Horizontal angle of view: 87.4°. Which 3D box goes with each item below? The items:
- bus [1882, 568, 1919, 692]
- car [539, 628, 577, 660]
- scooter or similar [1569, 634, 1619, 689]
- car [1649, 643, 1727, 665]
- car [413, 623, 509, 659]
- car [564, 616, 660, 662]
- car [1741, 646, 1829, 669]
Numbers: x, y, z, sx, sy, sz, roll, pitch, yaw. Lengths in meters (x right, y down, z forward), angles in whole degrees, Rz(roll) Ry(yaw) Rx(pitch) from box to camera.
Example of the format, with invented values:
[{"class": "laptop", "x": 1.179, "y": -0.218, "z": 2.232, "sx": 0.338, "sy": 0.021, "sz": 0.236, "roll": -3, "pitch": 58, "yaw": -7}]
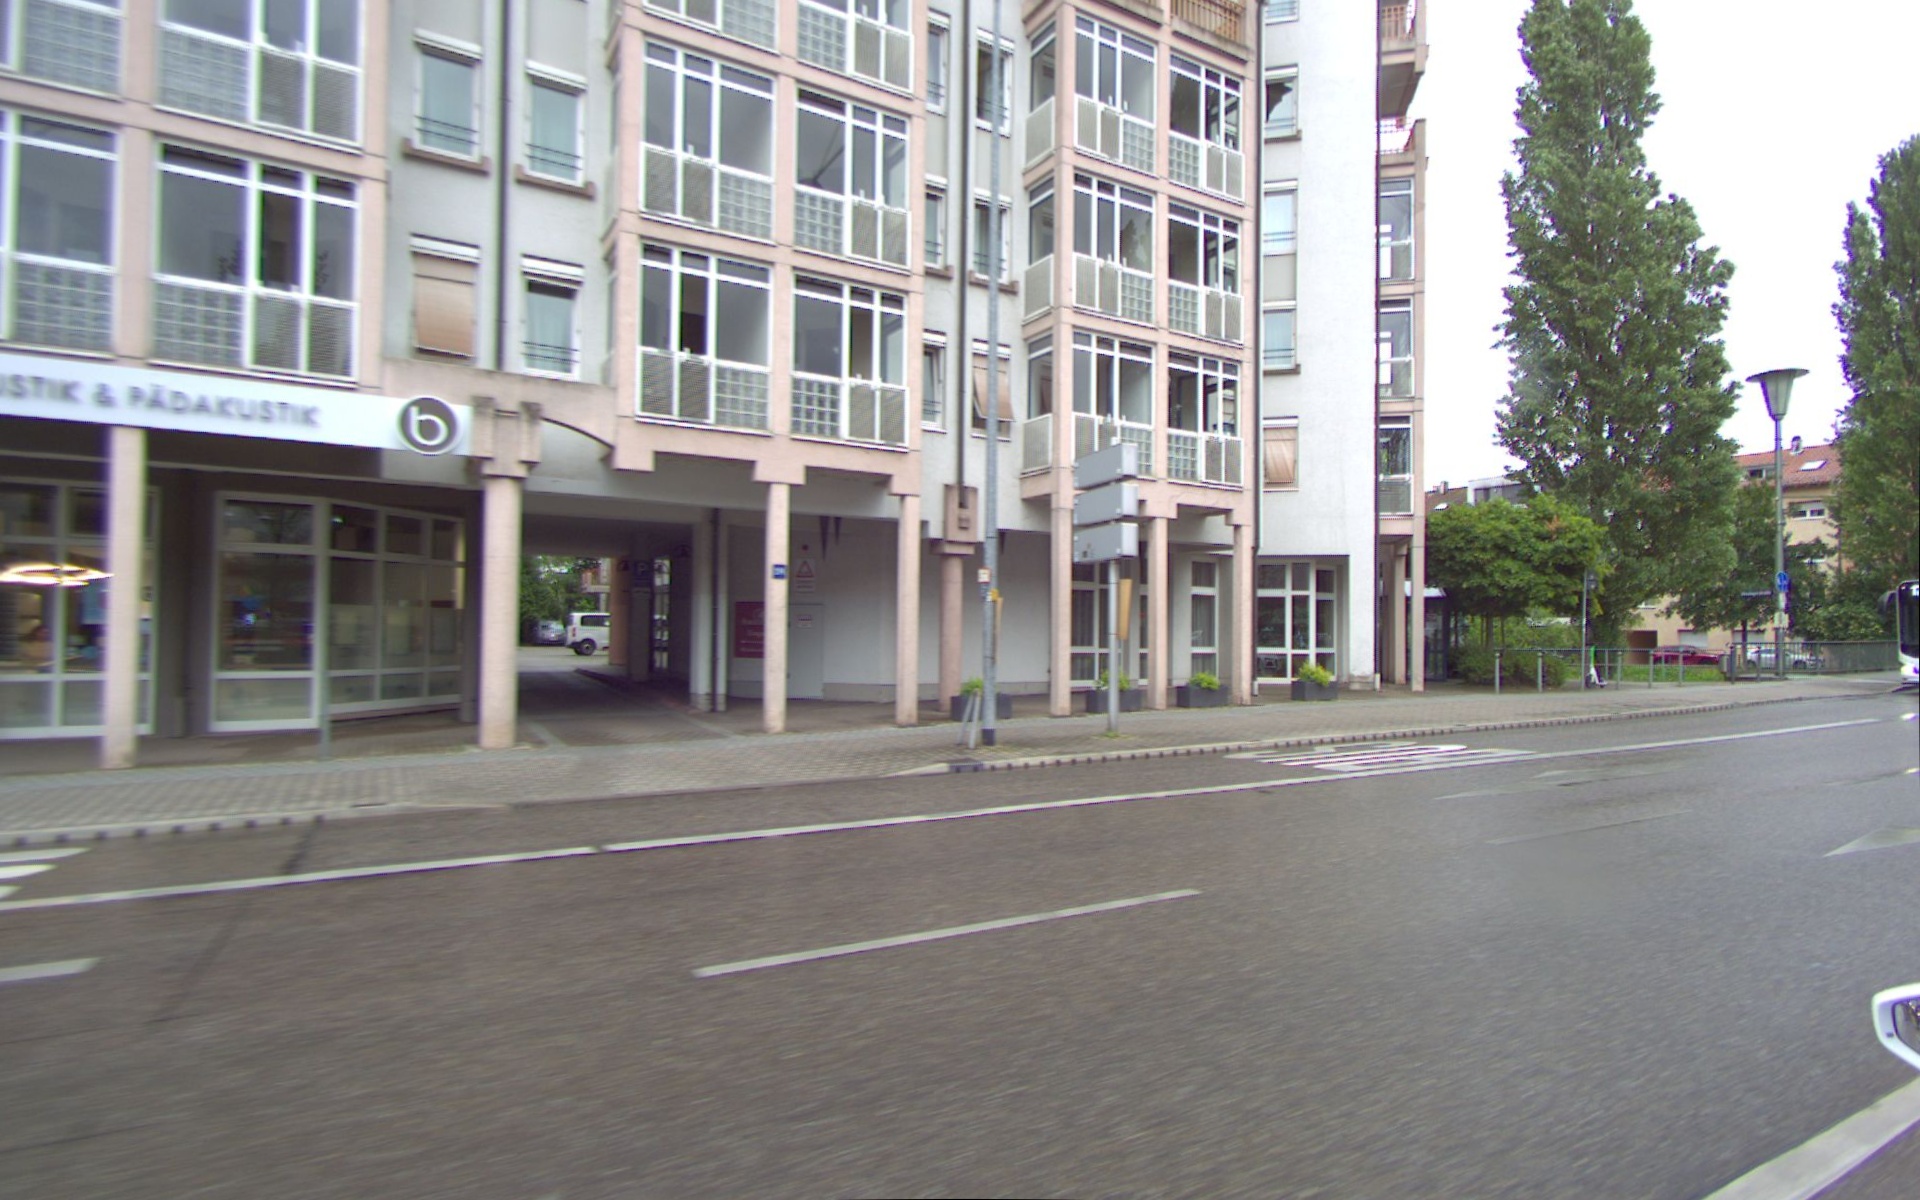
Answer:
[{"class": "bus", "x": 29.679, "y": 0.722, "z": 27.735, "sx": 12.090, "sy": 3.116, "sz": 2.731, "roll": 0, "pitch": -1, "yaw": -30}, {"class": "car", "x": -26.100, "y": 2.878, "z": 65.195, "sx": 1.846, "sy": 2.040, "sz": 3.971, "roll": 1, "pitch": -3, "yaw": -29}, {"class": "scooter or similar", "x": 16.329, "y": 1.571, "z": 25.852, "sx": 1.555, "sy": 1.331, "sz": 0.479, "roll": -1, "pitch": -1, "yaw": -34}, {"class": "car", "x": 50.049, "y": 3.691, "z": 69.136, "sx": 1.876, "sy": 1.406, "sz": 3.970, "roll": 2, "pitch": -2, "yaw": -29}, {"class": "car", "x": -25.867, "y": 2.102, "z": 52.213, "sx": 4.169, "sy": 1.806, "sz": 1.862, "roll": 0, "pitch": 0, "yaw": -17}, {"class": "car", "x": -15.996, "y": 1.799, "z": 46.226, "sx": 3.949, "sy": 2.040, "sz": 1.856, "roll": 1, "pitch": -3, "yaw": -27}, {"class": "car", "x": 52.883, "y": 3.653, "z": 64.477, "sx": 1.876, "sy": 1.406, "sz": 3.971, "roll": 1, "pitch": -3, "yaw": -29}]
